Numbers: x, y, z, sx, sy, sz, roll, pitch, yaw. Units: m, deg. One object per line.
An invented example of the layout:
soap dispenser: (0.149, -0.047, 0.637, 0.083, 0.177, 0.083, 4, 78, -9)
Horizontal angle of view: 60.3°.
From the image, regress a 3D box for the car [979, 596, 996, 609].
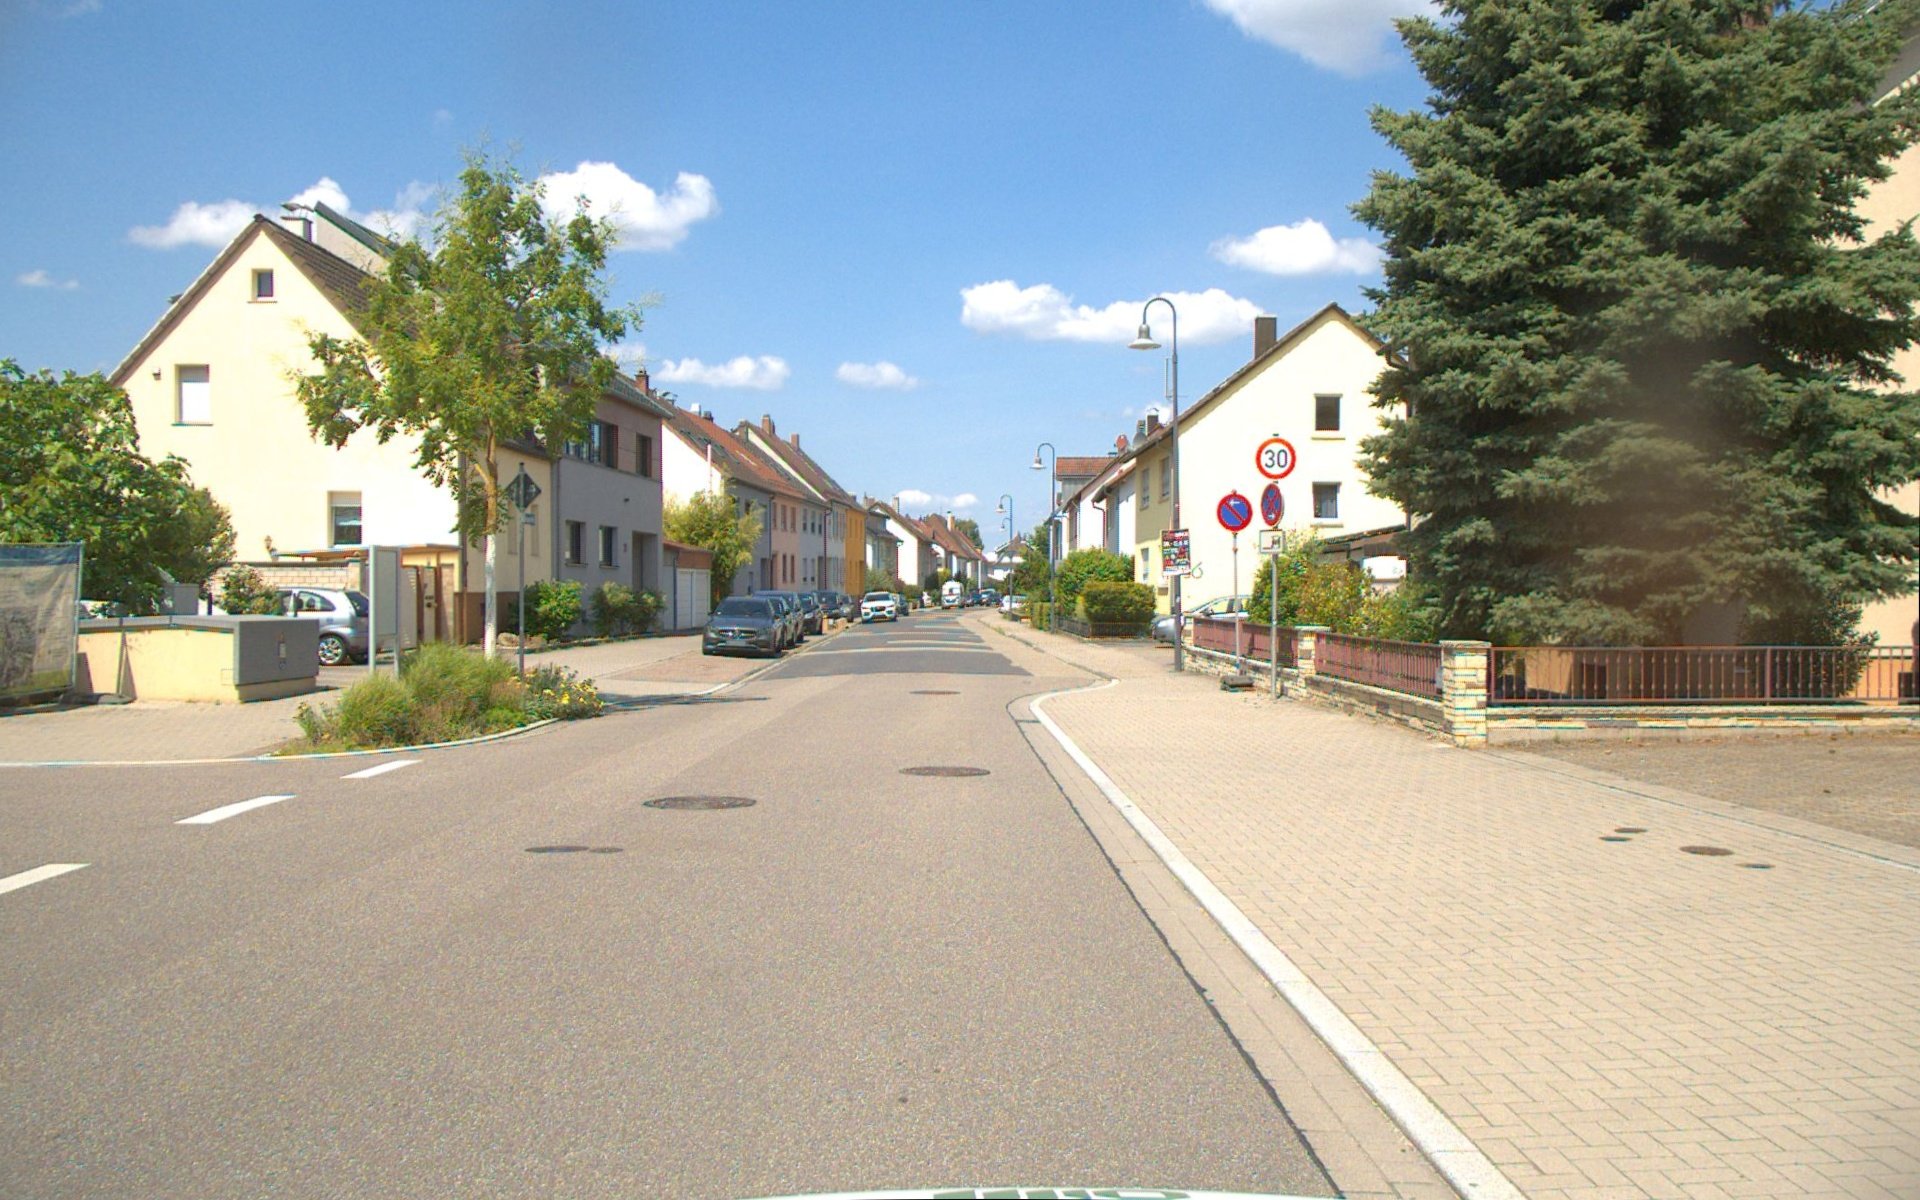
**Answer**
car: (2.968, 0.302, 179.144, 1.656, 1.365, 3.772, 1, -1, 3)

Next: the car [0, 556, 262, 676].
car: (-13.976, 0.234, 27.416, 3.905, 1.831, 2.000, 2, 0, 0)

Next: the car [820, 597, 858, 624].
car: (-6.585, 0.572, 90.577, 1.637, 1.359, 3.723, 2, 0, 2)

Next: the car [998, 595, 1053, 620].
car: (4.233, 0.479, 107.534, 3.451, 1.490, 1.628, 2, -1, 0)

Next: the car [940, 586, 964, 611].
car: (-0.763, -0.175, 161.397, 2.002, 2.352, 3.772, 1, -1, 3)

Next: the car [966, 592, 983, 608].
car: (1.674, 0.012, 191.041, 1.656, 1.689, 3.772, 1, -1, 3)

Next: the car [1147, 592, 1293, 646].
car: (7.403, 0.539, 47.404, 3.905, 1.499, 1.746, 0, 0, -1)

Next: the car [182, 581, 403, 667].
car: (-12.733, 0.437, 31.696, 3.451, 1.496, 1.793, 2, 0, 3)

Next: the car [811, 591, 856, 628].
car: (-5.982, 0.424, 78.413, 1.774, 1.637, 4.000, 2, 0, 0)

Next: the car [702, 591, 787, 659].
car: (-5.499, 0.598, 42.656, 1.780, 1.458, 4.137, 4, 1, -3)

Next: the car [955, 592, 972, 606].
car: (0.448, -0.080, 183.554, 1.656, 1.530, 3.772, 1, -1, 3)

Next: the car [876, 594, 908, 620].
car: (-4.597, 0.487, 112.599, 1.811, 1.688, 4.001, 2, 0, 2)

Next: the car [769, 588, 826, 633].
car: (-6.235, 0.387, 63.628, 1.743, 1.637, 4.000, 2, 0, 0)

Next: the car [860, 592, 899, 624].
car: (-4.433, 0.445, 91.585, 1.811, 1.688, 4.001, 2, 0, 2)
